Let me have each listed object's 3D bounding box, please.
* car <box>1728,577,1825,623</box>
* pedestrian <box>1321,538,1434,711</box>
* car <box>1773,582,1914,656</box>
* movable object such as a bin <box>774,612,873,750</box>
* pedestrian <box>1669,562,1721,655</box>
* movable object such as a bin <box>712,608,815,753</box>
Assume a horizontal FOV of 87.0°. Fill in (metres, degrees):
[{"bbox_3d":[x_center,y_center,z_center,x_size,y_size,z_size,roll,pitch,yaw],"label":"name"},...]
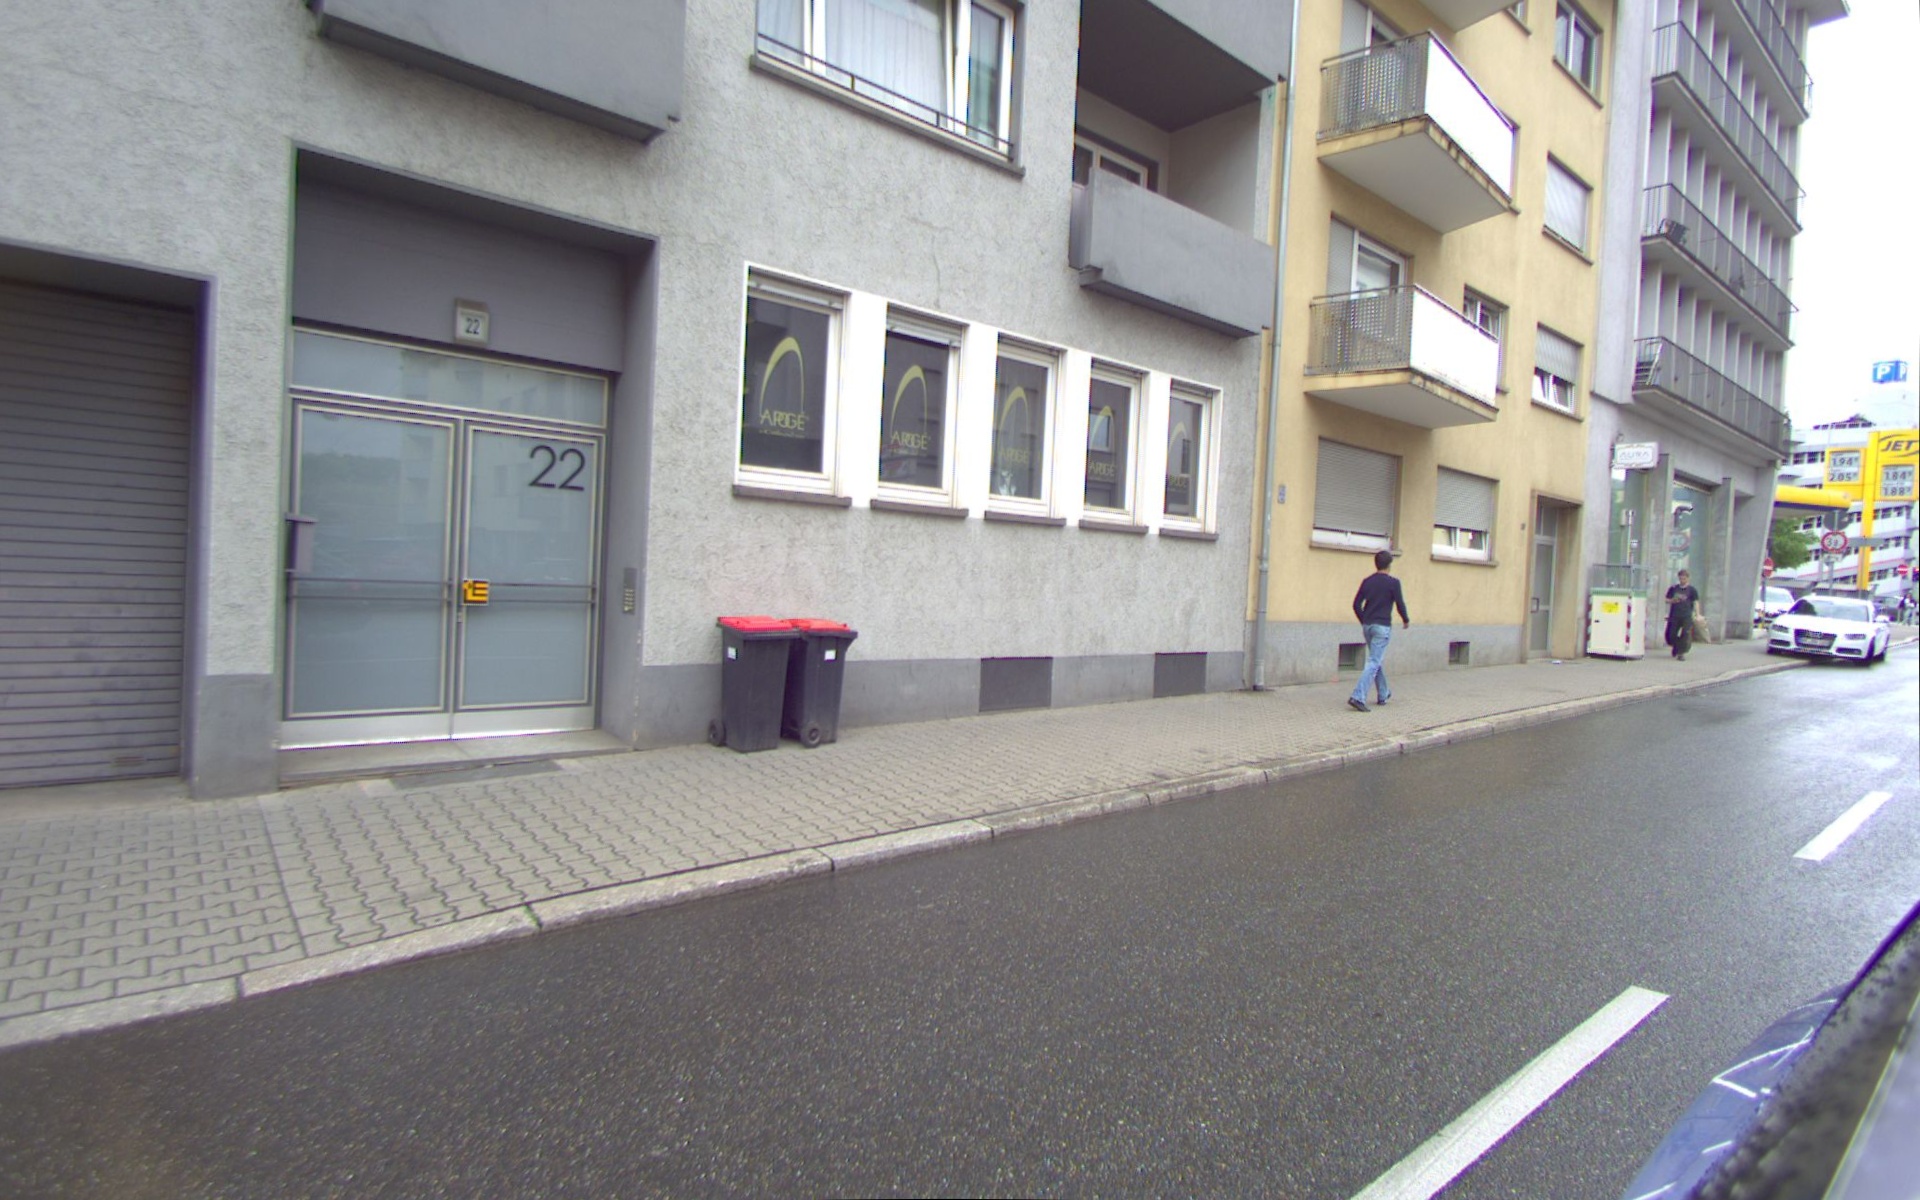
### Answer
[{"bbox_3d":[28.418,-0.011,35.353,1.754,1.492,3.964,0,0,26],"label":"car"},{"bbox_3d":[4.638,0.248,11.226,1.038,1.799,0.644,0,5,-41],"label":"pedestrian"},{"bbox_3d":[20.142,0.376,23.013,4.093,1.453,1.803,0,4,-41],"label":"car"},{"bbox_3d":[-1.052,0.597,7.796,0.506,0.961,0.541,0,5,-40],"label":"movable object such as a bin"},{"bbox_3d":[14.626,0.152,20.129,0.677,1.777,0.874,4,3,43],"label":"pedestrian"},{"bbox_3d":[-1.450,0.569,7.450,0.506,0.967,0.541,0,5,-40],"label":"movable object such as a bin"}]
